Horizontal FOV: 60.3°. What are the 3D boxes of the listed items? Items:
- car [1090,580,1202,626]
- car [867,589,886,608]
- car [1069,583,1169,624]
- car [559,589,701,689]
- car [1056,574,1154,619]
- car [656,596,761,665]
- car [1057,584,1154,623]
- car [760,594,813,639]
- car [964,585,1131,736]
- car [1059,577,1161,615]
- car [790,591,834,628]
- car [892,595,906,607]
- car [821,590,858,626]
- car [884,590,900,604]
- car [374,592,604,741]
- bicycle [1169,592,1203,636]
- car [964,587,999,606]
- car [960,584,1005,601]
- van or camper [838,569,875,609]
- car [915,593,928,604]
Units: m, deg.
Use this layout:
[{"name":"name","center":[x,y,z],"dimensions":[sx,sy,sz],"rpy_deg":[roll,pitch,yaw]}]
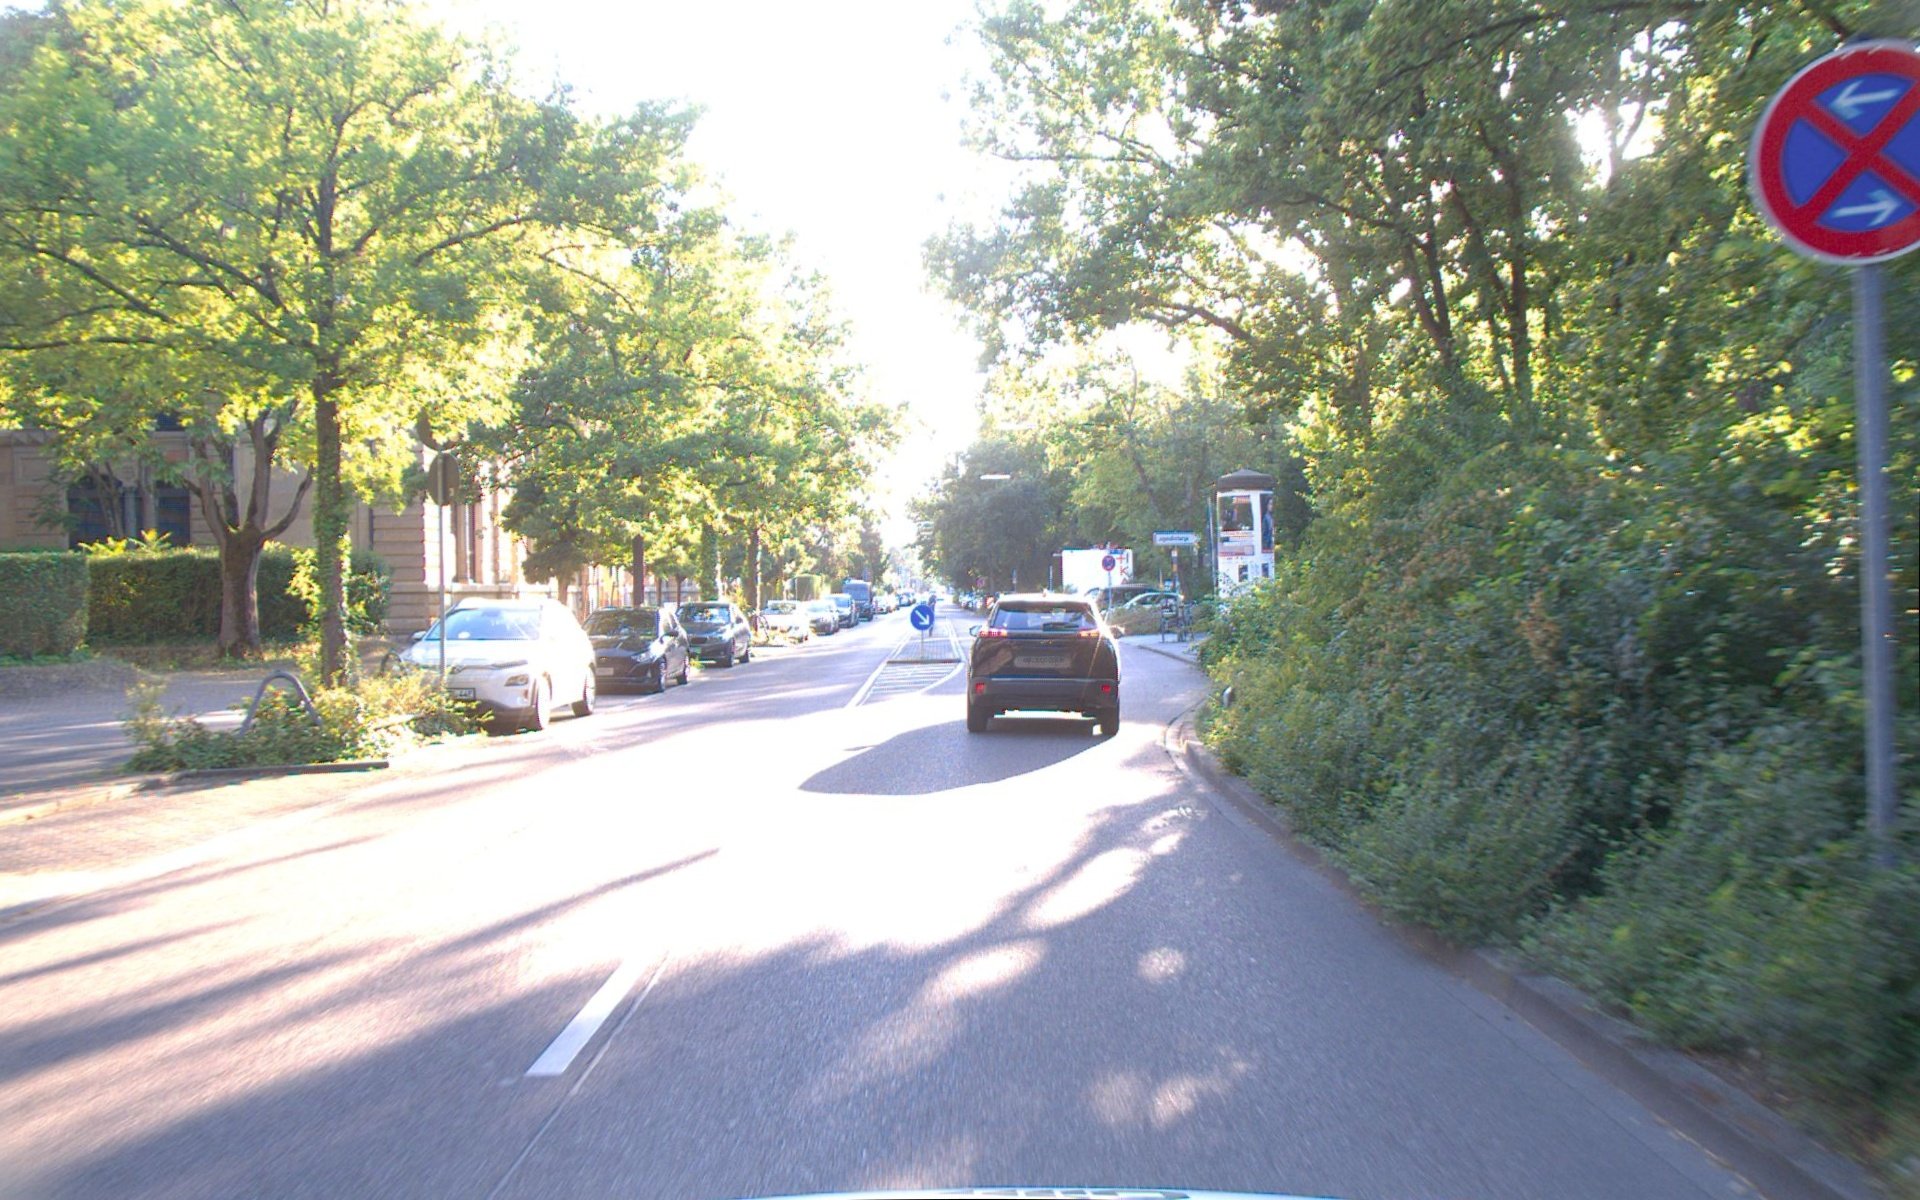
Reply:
[{"name":"car","center":[7.571,0.098,67.471],"dimensions":[4.275,1.581,1.727],"rpy_deg":[-4,0,-2]},{"name":"car","center":[-7.329,-0.131,146.111],"dimensions":[1.582,1.541,3.710],"rpy_deg":[-3,0,-3]},{"name":"car","center":[7.235,0.131,75.624],"dimensions":[4.275,1.564,1.920],"rpy_deg":[-4,0,-2]},{"name":"car","center":[-5.804,0.637,29.525],"dimensions":[1.744,1.644,4.146],"rpy_deg":[-1,0,-1]},{"name":"car","center":[7.457,-0.186,85.346],"dimensions":[4.755,1.949,1.915],"rpy_deg":[-4,0,-2]},{"name":"car","center":[-6.031,0.698,40.146],"dimensions":[1.765,1.537,4.862],"rpy_deg":[-1,0,0]},{"name":"car","center":[6.861,0.164,78.214],"dimensions":[4.275,1.564,1.920],"rpy_deg":[-4,0,-2]},{"name":"car","center":[-6.359,0.581,60.883],"dimensions":[1.585,1.522,3.924],"rpy_deg":[-1,0,-1]},{"name":"car","center":[0.955,0.633,19.928],"dimensions":[1.735,1.595,4.108],"rpy_deg":[0,1,-1]},{"name":"car","center":[7.494,-0.221,83.028],"dimensions":[4.828,1.581,1.915],"rpy_deg":[-4,0,-2]},{"name":"car","center":[-6.558,0.394,73.562],"dimensions":[1.585,1.522,4.376],"rpy_deg":[-1,0,-1]},{"name":"car","center":[-8.616,0.130,234.393],"dimensions":[1.861,1.601,3.999],"rpy_deg":[-1,0,-1]},{"name":"car","center":[-6.622,0.436,91.223],"dimensions":[1.741,1.898,4.332],"rpy_deg":[1,1,-1]},{"name":"car","center":[-7.745,-0.375,189.224],"dimensions":[1.717,1.438,3.762],"rpy_deg":[-4,1,-3]},{"name":"car","center":[-5.848,0.753,21.056],"dimensions":[1.767,1.644,4.146],"rpy_deg":[-2,0,-1]},{"name":"bicycle","center":[6.717,0.402,49.089],"dimensions":[0.482,1.168,2.286],"rpy_deg":[-4,1,19]},{"name":"car","center":[2.480,-0.368,193.523],"dimensions":[3.910,2.125,1.756],"rpy_deg":[-1,0,-6]},{"name":"car","center":[2.178,-0.757,161.767],"dimensions":[4.159,1.474,2.020],"rpy_deg":[-3,0,-3]},{"name":"van or camper","center":[-6.886,-0.741,110.938],"dimensions":[2.184,2.589,7.078],"rpy_deg":[0,0,-1]},{"name":"car","center":[-5.322,-0.182,226.064],"dimensions":[1.706,1.483,4.623],"rpy_deg":[-2,0,-1]}]
